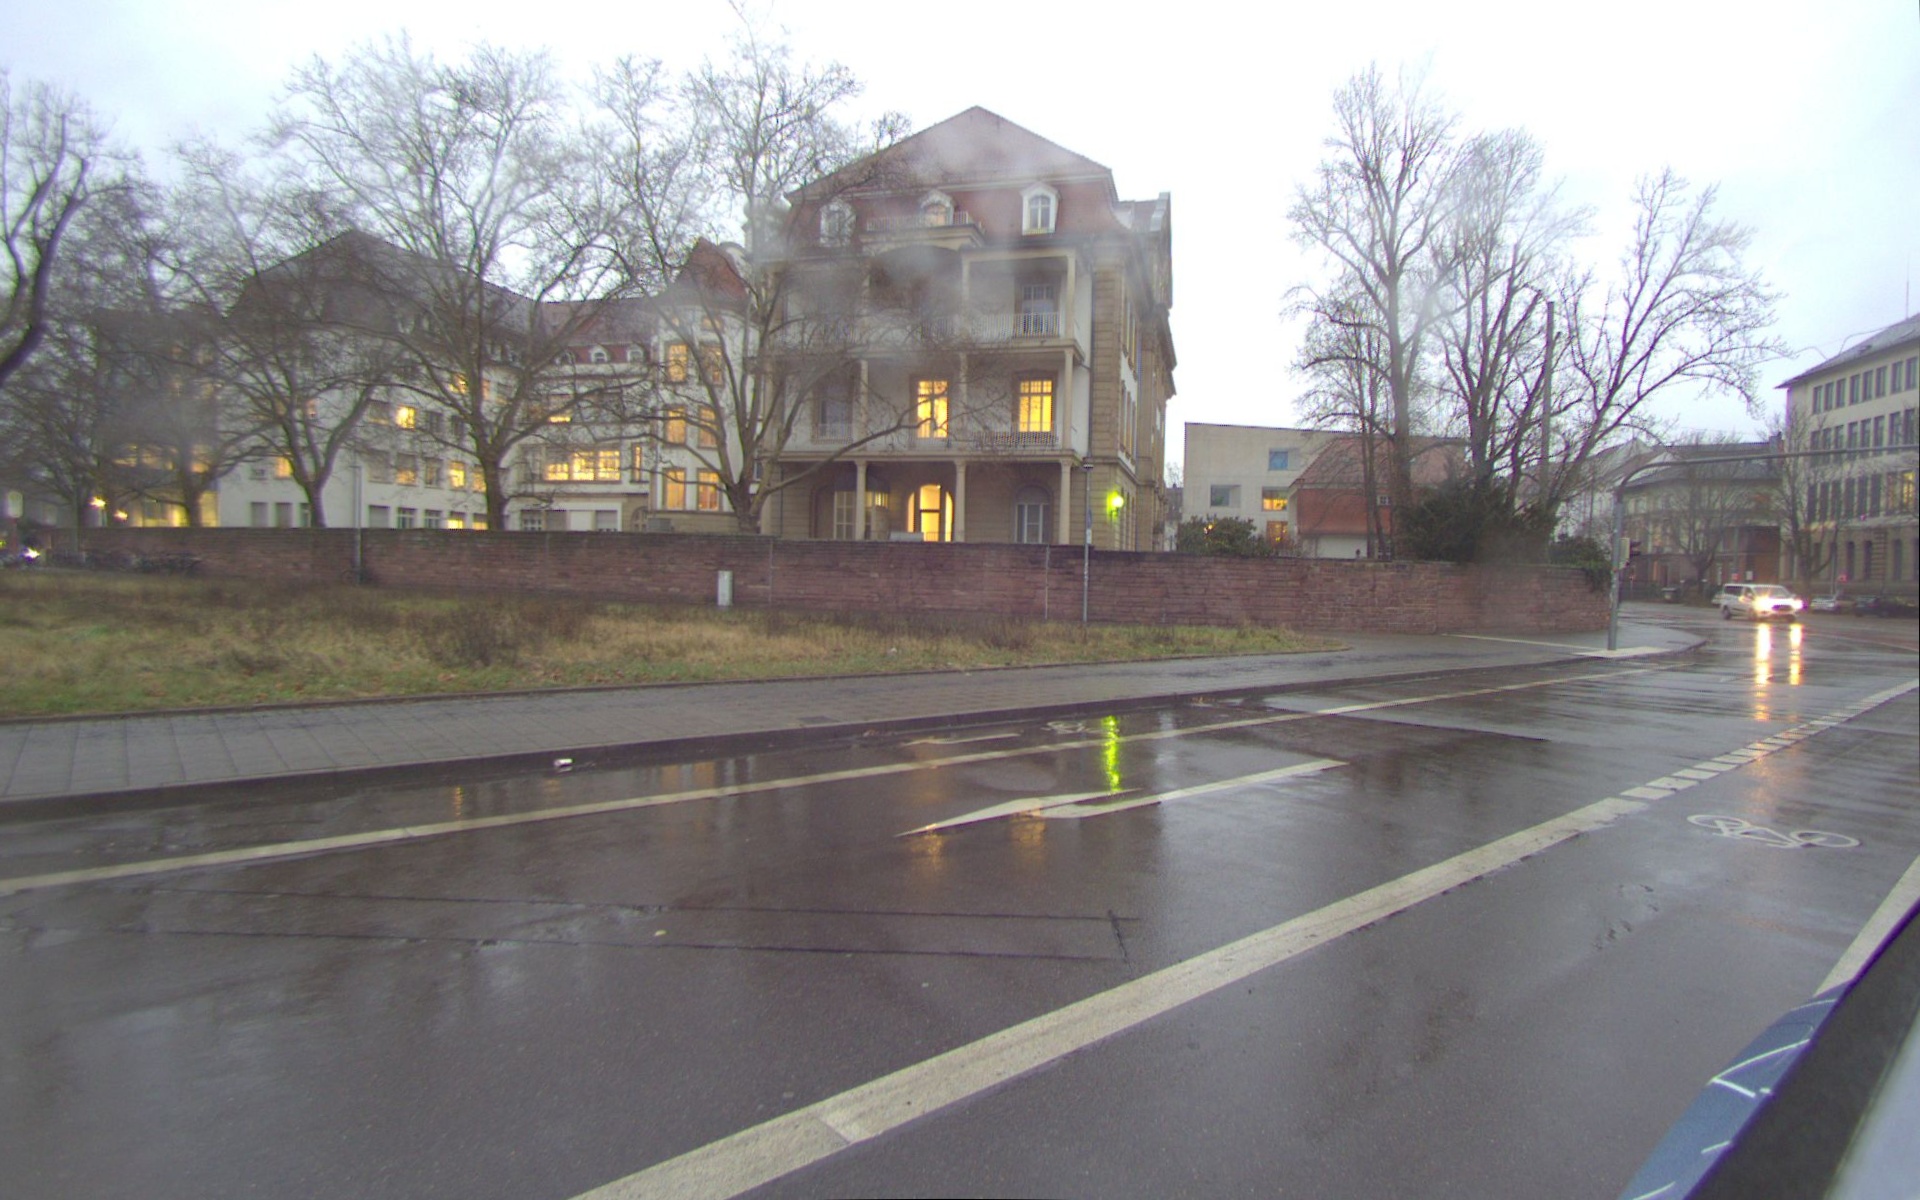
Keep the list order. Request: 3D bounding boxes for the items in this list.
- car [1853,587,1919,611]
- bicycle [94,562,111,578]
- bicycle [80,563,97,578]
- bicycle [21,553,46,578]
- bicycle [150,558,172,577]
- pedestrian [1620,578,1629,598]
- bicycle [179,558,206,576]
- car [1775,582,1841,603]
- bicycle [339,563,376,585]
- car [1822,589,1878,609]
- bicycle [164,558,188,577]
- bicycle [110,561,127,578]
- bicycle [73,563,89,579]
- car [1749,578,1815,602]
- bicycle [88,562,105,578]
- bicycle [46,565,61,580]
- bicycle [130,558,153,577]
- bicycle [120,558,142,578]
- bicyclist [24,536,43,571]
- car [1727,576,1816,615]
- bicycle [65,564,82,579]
[{"bbox_3d":[61.961,-0.064,67.009,3.927,1.570,1.800,0,0,4],"label":"car"},{"bbox_3d":[-43.133,-1.497,50.900,1.522,0.796,0.389,0,0,38],"label":"bicycle"},{"bbox_3d":[-45.444,-1.534,52.745,1.522,0.796,0.389,0,0,38],"label":"bicycle"},{"bbox_3d":[-45.120,-1.673,49.265,1.670,1.182,0.603,0,0,37],"label":"bicycle"},{"bbox_3d":[-37.033,-1.499,46.889,1.480,0.849,0.346,0,0,32],"label":"bicycle"},{"bbox_3d":[68.689,-1.241,104.587,0.539,2.038,0.473,2,2,14],"label":"pedestrian"},{"bbox_3d":[-34.212,-1.470,45.114,1.399,0.796,0.355,0,0,26],"label":"bicycle"},{"bbox_3d":[64.698,-0.590,77.228,3.916,1.570,1.805,0,0,-13],"label":"car"},{"bbox_3d":[-23.386,-0.990,39.275,1.366,0.835,0.392,0,0,14],"label":"bicycle"},{"bbox_3d":[63.601,-0.086,72.303,3.568,1.322,1.712,-1,0,-25],"label":"car"},{"bbox_3d":[-35.552,-1.471,45.863,1.519,0.796,0.389,0,0,33],"label":"bicycle"},{"bbox_3d":[-41.476,-1.478,49.880,1.599,0.796,0.388,0,0,41],"label":"bicycle"},{"bbox_3d":[-46.674,-1.537,53.723,1.522,0.796,0.389,0,0,38],"label":"bicycle"},{"bbox_3d":[64.979,-0.795,80.026,3.916,1.924,2.052,0,0,-13],"label":"car"},{"bbox_3d":[-44.180,-1.531,51.771,1.522,0.796,0.389,0,0,38],"label":"bicycle"},{"bbox_3d":[-51.611,-1.548,57.596,1.522,0.796,0.389,0,0,38],"label":"bicycle"},{"bbox_3d":[-38.628,-1.509,47.771,1.519,0.869,0.389,0,0,33],"label":"bicycle"},{"bbox_3d":[-39.910,-1.541,48.725,1.519,0.928,0.389,0,0,33],"label":"bicycle"},{"bbox_3d":[-45.127,-2.269,49.274,0.450,1.662,0.603,0,0,37],"label":"bicyclist"},{"bbox_3d":[44.885,-0.271,56.099,1.971,2.039,4.870,0,0,14],"label":"car"},{"bbox_3d":[-47.898,-1.540,54.677,1.522,0.796,0.389,0,0,38],"label":"bicycle"}]
